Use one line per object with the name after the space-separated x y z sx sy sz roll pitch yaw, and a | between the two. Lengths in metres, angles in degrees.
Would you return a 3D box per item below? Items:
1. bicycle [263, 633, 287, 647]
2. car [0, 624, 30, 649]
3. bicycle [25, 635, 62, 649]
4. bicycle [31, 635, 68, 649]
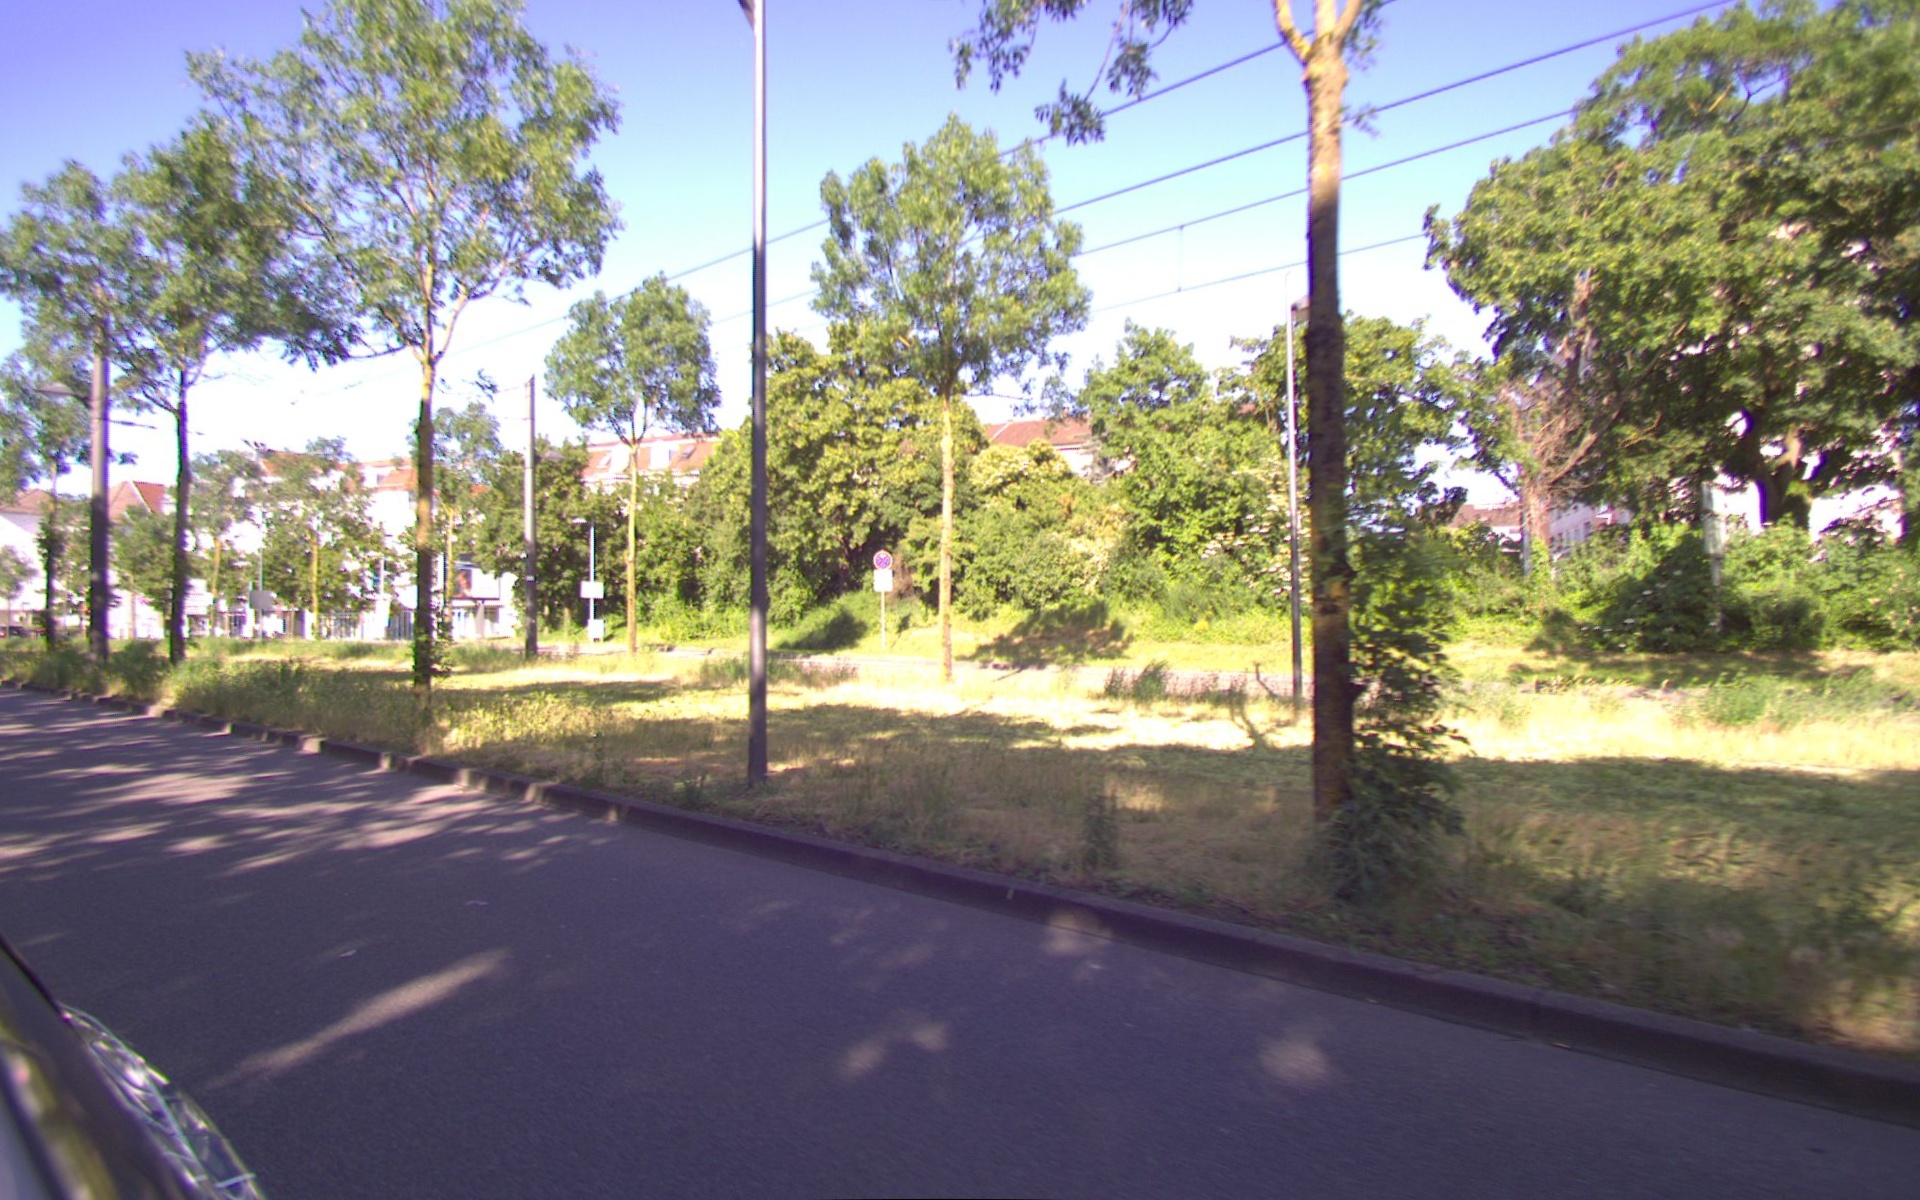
-63.941 3.735 94.411 2.539 1.222 0.713 -2 -2 27 | bicycle
-72.354 2.765 76.369 4.467 1.653 1.808 -5 -4 28 | car
-86.749 3.964 95.828 0.659 1.319 2.558 -2 -2 25 | bicycle
-85.746 3.950 95.325 0.659 1.319 2.558 -2 -2 25 | bicycle
